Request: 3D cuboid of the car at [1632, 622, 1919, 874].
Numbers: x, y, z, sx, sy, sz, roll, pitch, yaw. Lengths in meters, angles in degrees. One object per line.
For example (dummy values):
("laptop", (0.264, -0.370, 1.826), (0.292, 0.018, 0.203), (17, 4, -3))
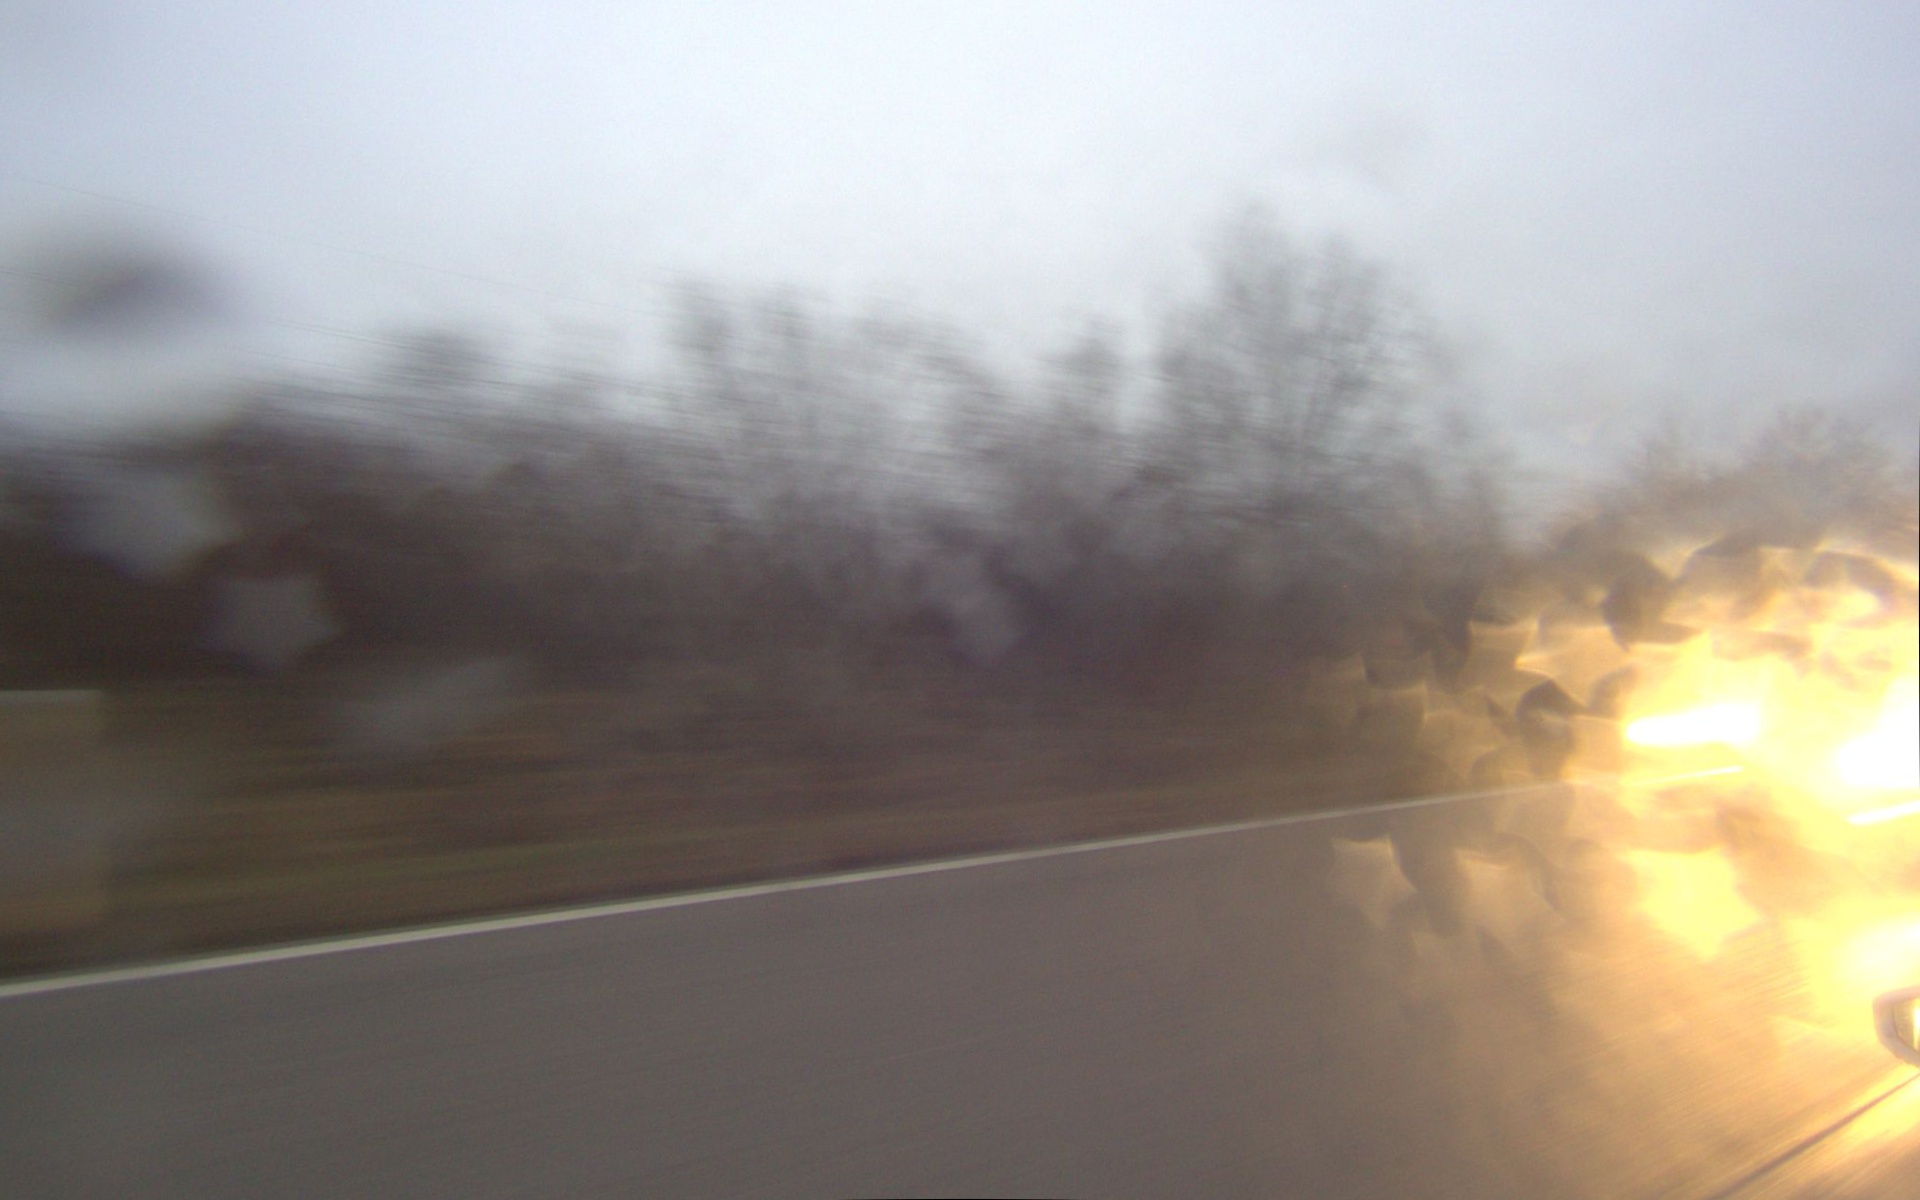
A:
("car", (6.921, 0.940, 7.503), (3.414, 1.460, 1.809), (1, 0, -30))
